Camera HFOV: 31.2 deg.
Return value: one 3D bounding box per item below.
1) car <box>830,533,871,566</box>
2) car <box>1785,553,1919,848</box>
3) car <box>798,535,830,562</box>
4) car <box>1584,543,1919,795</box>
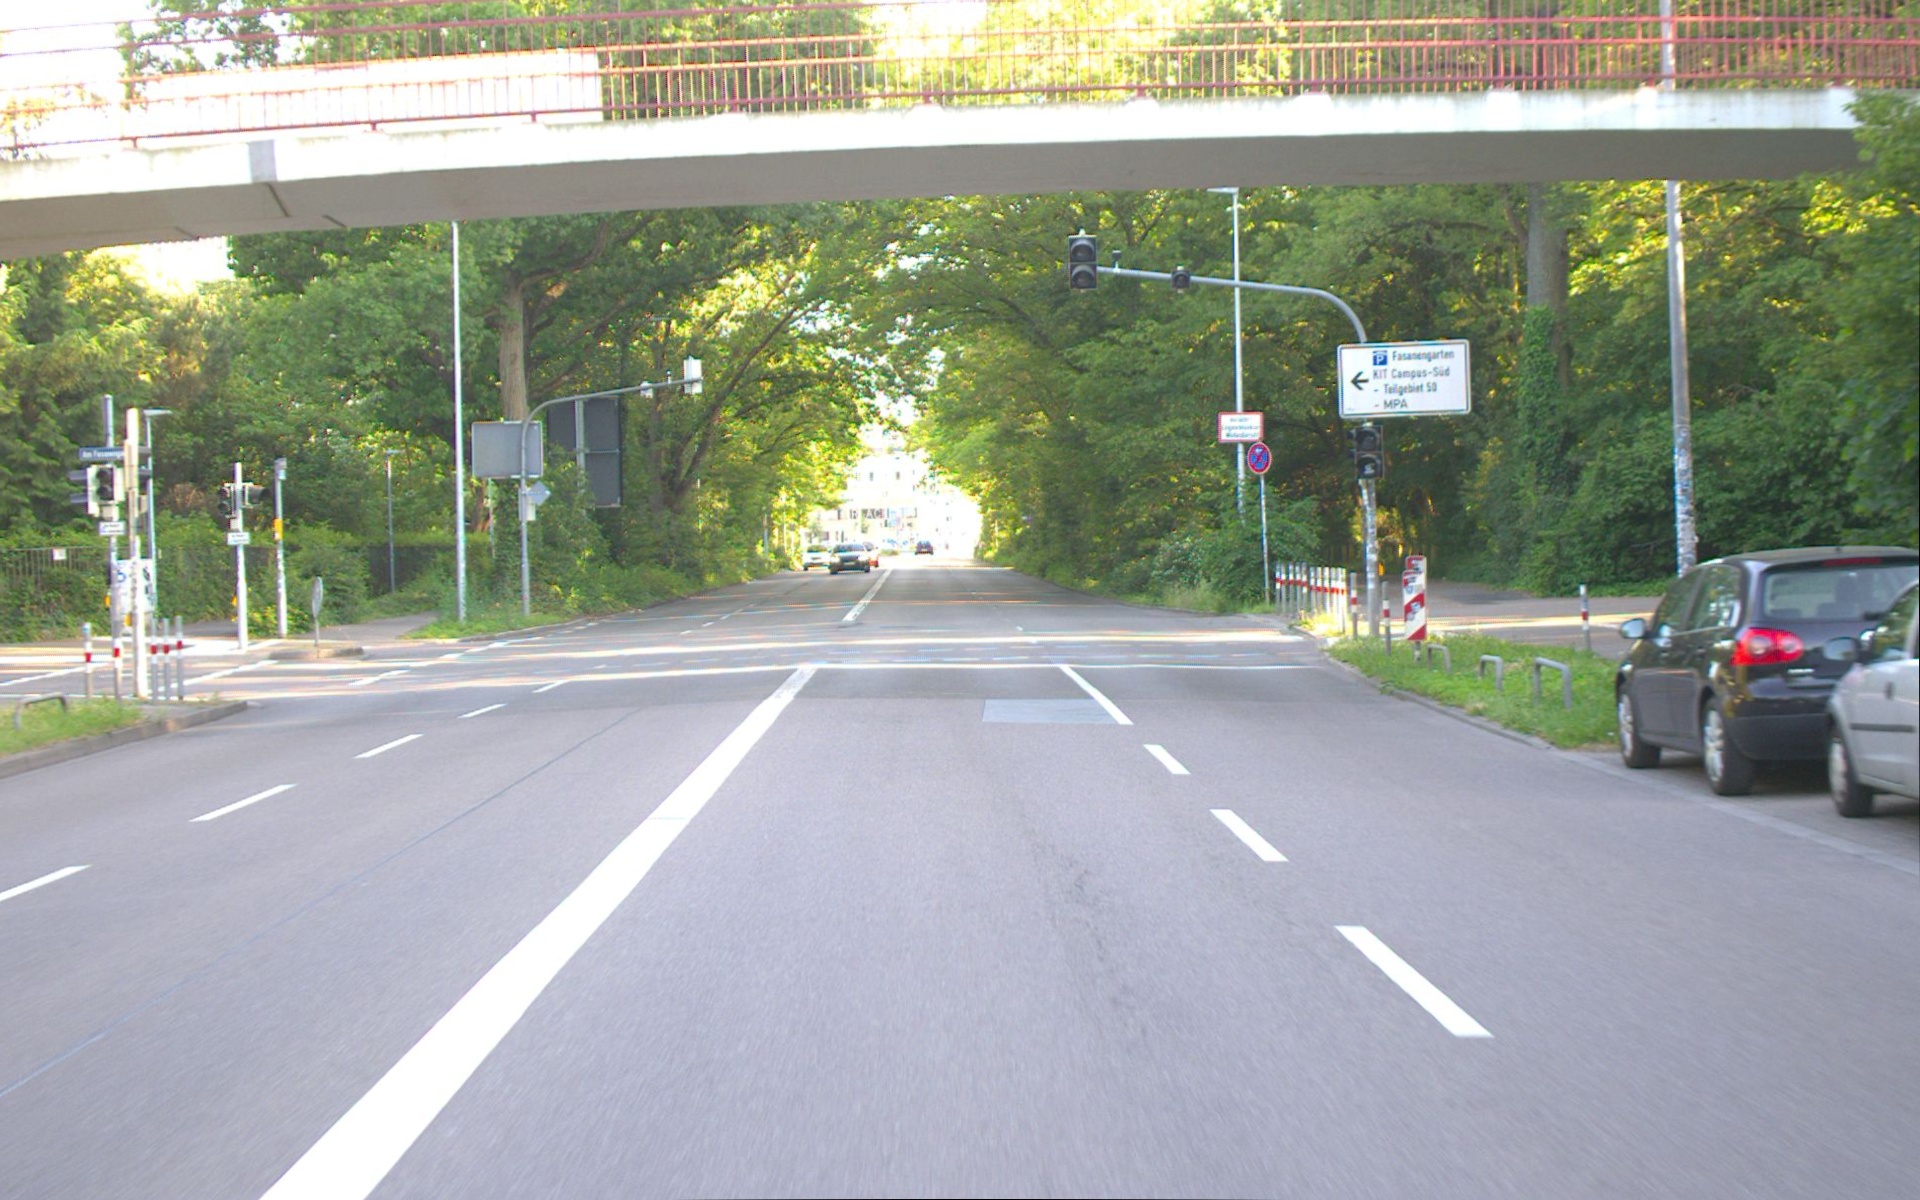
[{"bbox_3d":[-5.301,-2.442,166.665,1.887,1.501,4.365,-2,1,-2],"label":"car"},{"bbox_3d":[5.709,0.471,18.297,1.774,1.449,4.014,-2,1,2],"label":"car"},{"bbox_3d":[-8.688,-3.068,205.114,1.797,1.501,4.365,-2,1,-2],"label":"car"},{"bbox_3d":[5.424,0.380,22.705,1.774,1.449,4.388,-2,1,0],"label":"car"}]
